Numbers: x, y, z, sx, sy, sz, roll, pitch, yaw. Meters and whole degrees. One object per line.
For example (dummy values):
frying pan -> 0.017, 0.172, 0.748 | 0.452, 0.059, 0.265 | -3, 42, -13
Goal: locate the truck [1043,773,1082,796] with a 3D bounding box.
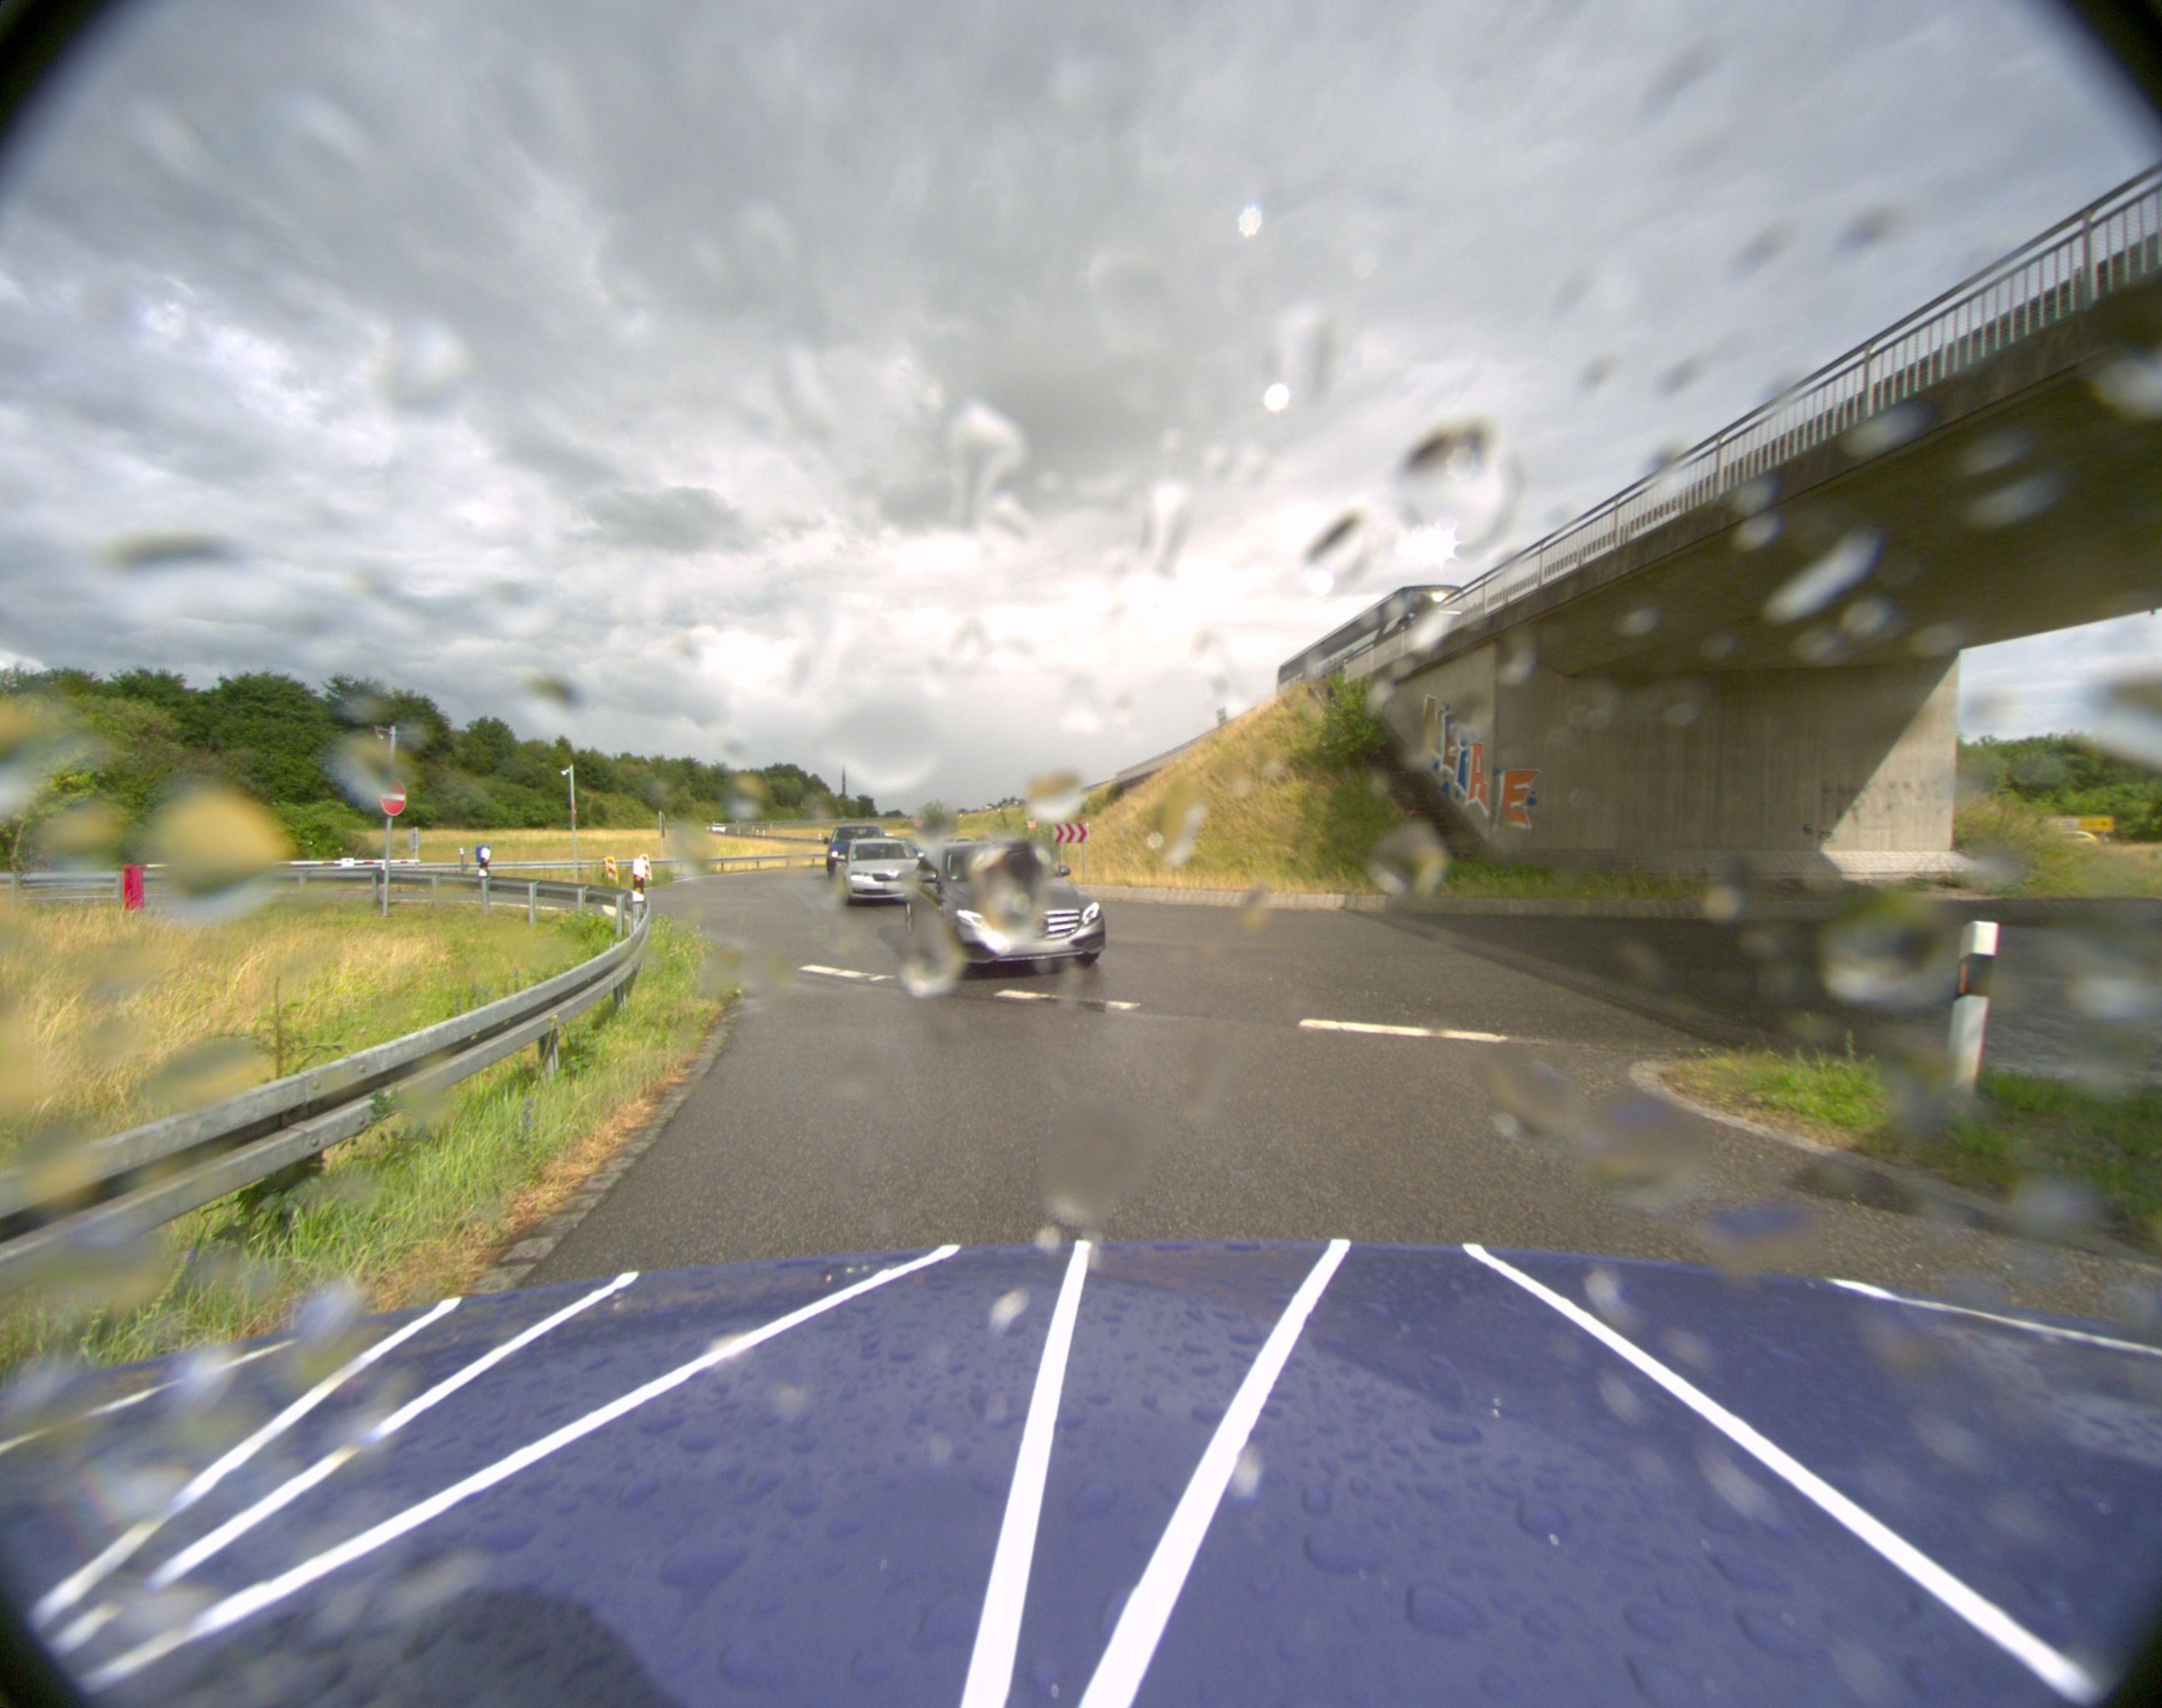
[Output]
truck -> -3.078, -11.138, 123.028 | 3.164, 3.177, 9.258 | -3, 3, -23

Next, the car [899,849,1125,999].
car -> -1.170, 0.675, 9.902 | 1.773, 1.383, 4.582 | -2, 1, -20

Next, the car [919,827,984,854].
car -> -7.596, -0.803, 44.766 | 1.568, 1.528, 3.936 | 1, 2, 32

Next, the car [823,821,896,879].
car -> -8.154, -0.267, 28.434 | 1.894, 1.905, 5.674 | -1, 3, -9

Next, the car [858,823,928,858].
car -> -8.491, -0.633, 34.660 | 1.772, 1.476, 3.835 | 0, 1, 8

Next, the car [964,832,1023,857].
car -> -5.506, -0.624, 48.273 | 1.568, 1.528, 3.936 | 1, 2, 32

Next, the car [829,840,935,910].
car -> -4.732, 0.386, 17.596 | 1.800, 1.390, 4.340 | -1, 1, -22

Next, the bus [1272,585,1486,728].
bus -> 12.126, -8.017, 33.400 | 2.612, 3.063, 14.450 | -2, 3, -5

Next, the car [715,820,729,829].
car -> -55.507, -4.545, 117.544 | 1.713, 1.283, 3.766 | -1, 2, -22
